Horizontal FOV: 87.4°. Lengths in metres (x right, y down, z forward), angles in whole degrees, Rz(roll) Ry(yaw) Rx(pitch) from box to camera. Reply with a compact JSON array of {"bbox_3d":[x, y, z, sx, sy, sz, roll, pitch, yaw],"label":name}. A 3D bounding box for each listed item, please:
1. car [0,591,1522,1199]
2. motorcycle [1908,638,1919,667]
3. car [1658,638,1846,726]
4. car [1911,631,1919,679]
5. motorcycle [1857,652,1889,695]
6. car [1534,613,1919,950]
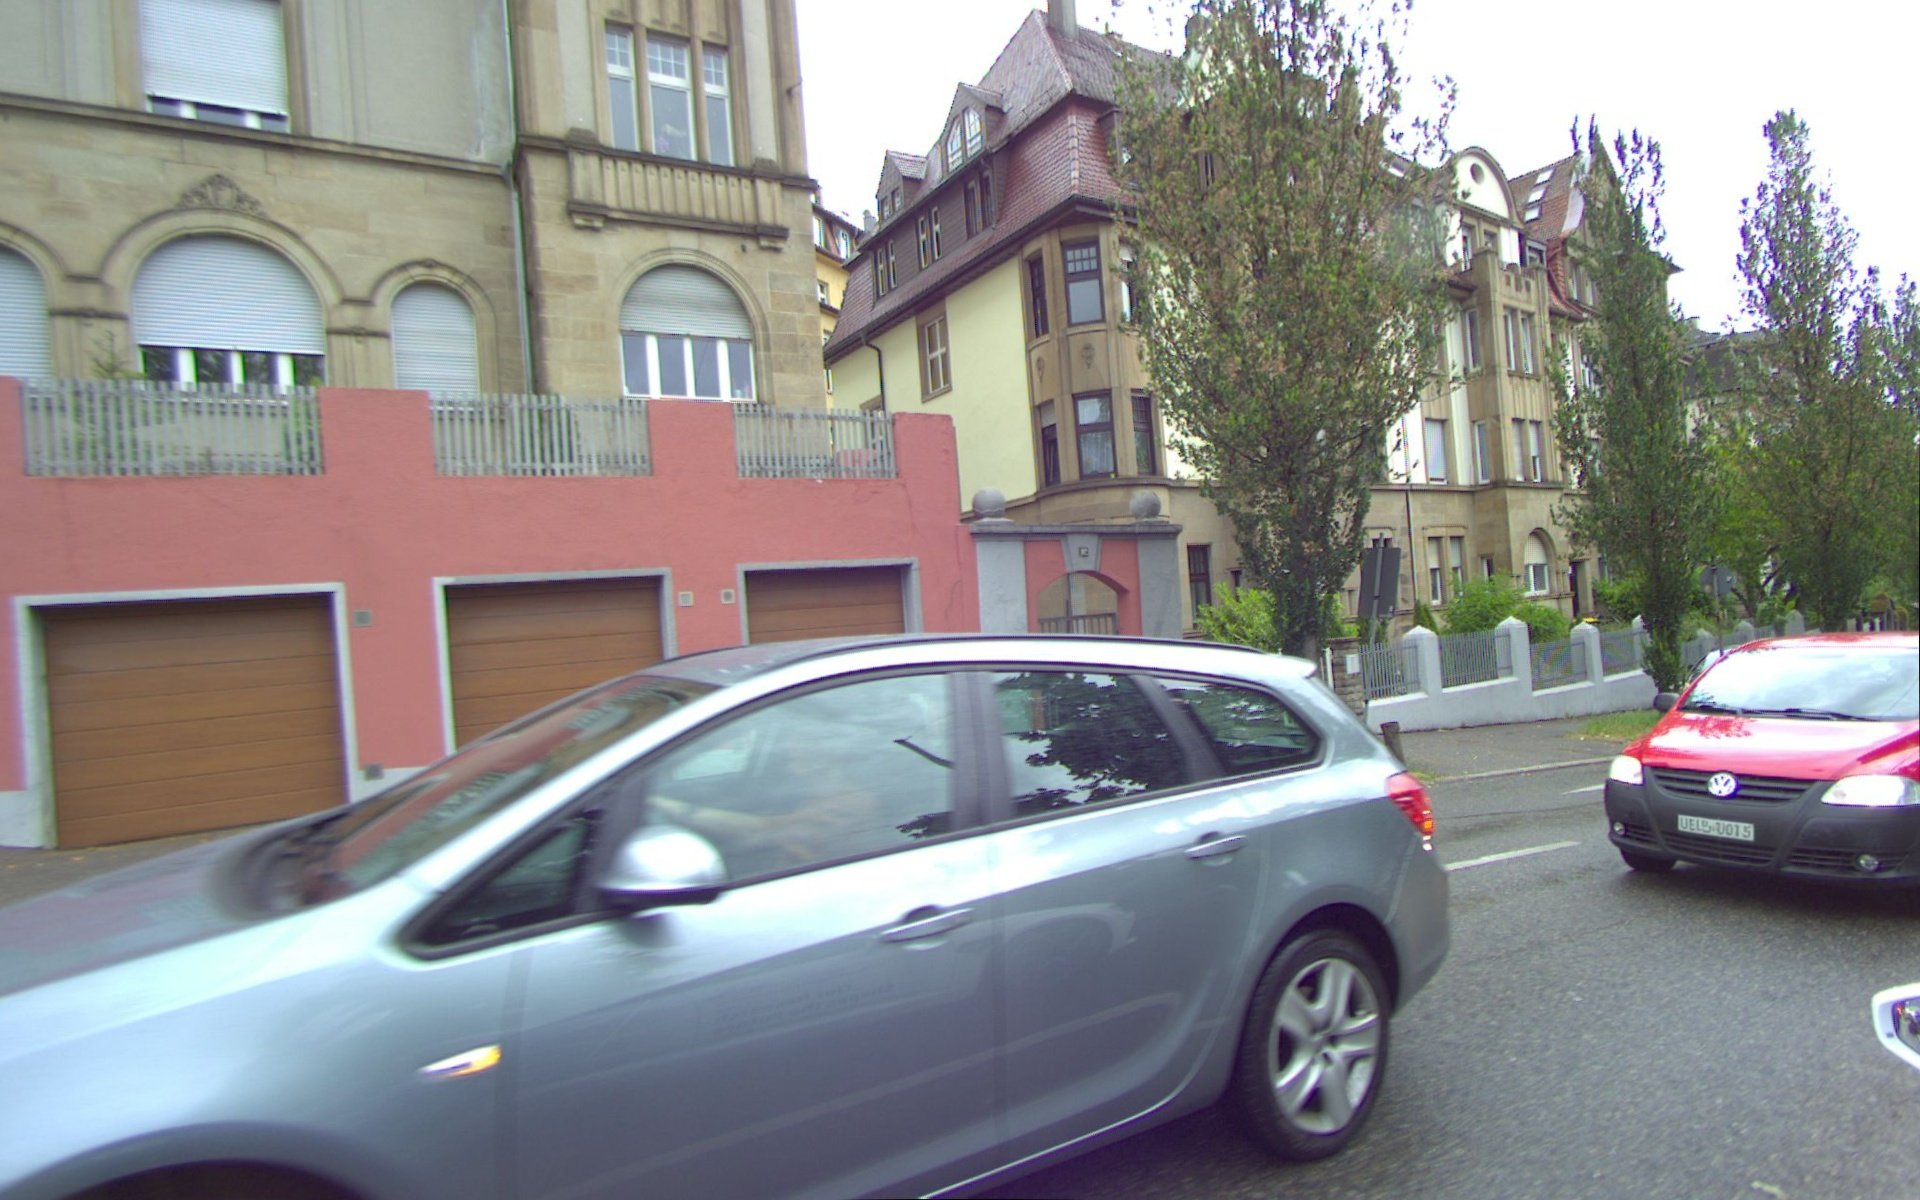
[{"bbox_3d":[-0.392,0.819,2.994,4.215,1.516,1.765,1,-3,-32],"label":"car"},{"bbox_3d":[41.994,2.287,43.858,1.629,1.253,0.555,2,-5,-37],"label":"motorcycle"},{"bbox_3d":[16.165,1.599,20.479,3.956,1.633,1.805,2,-2,-32],"label":"car"},{"bbox_3d":[35.677,1.894,36.023,4.164,1.672,1.773,1,-7,-42],"label":"car"},{"bbox_3d":[26.073,2.070,28.687,0.645,1.136,2.143,-1,-2,43],"label":"motorcycle"},{"bbox_3d":[5.672,0.910,6.489,3.953,1.589,1.647,1,-2,-30],"label":"car"}]
